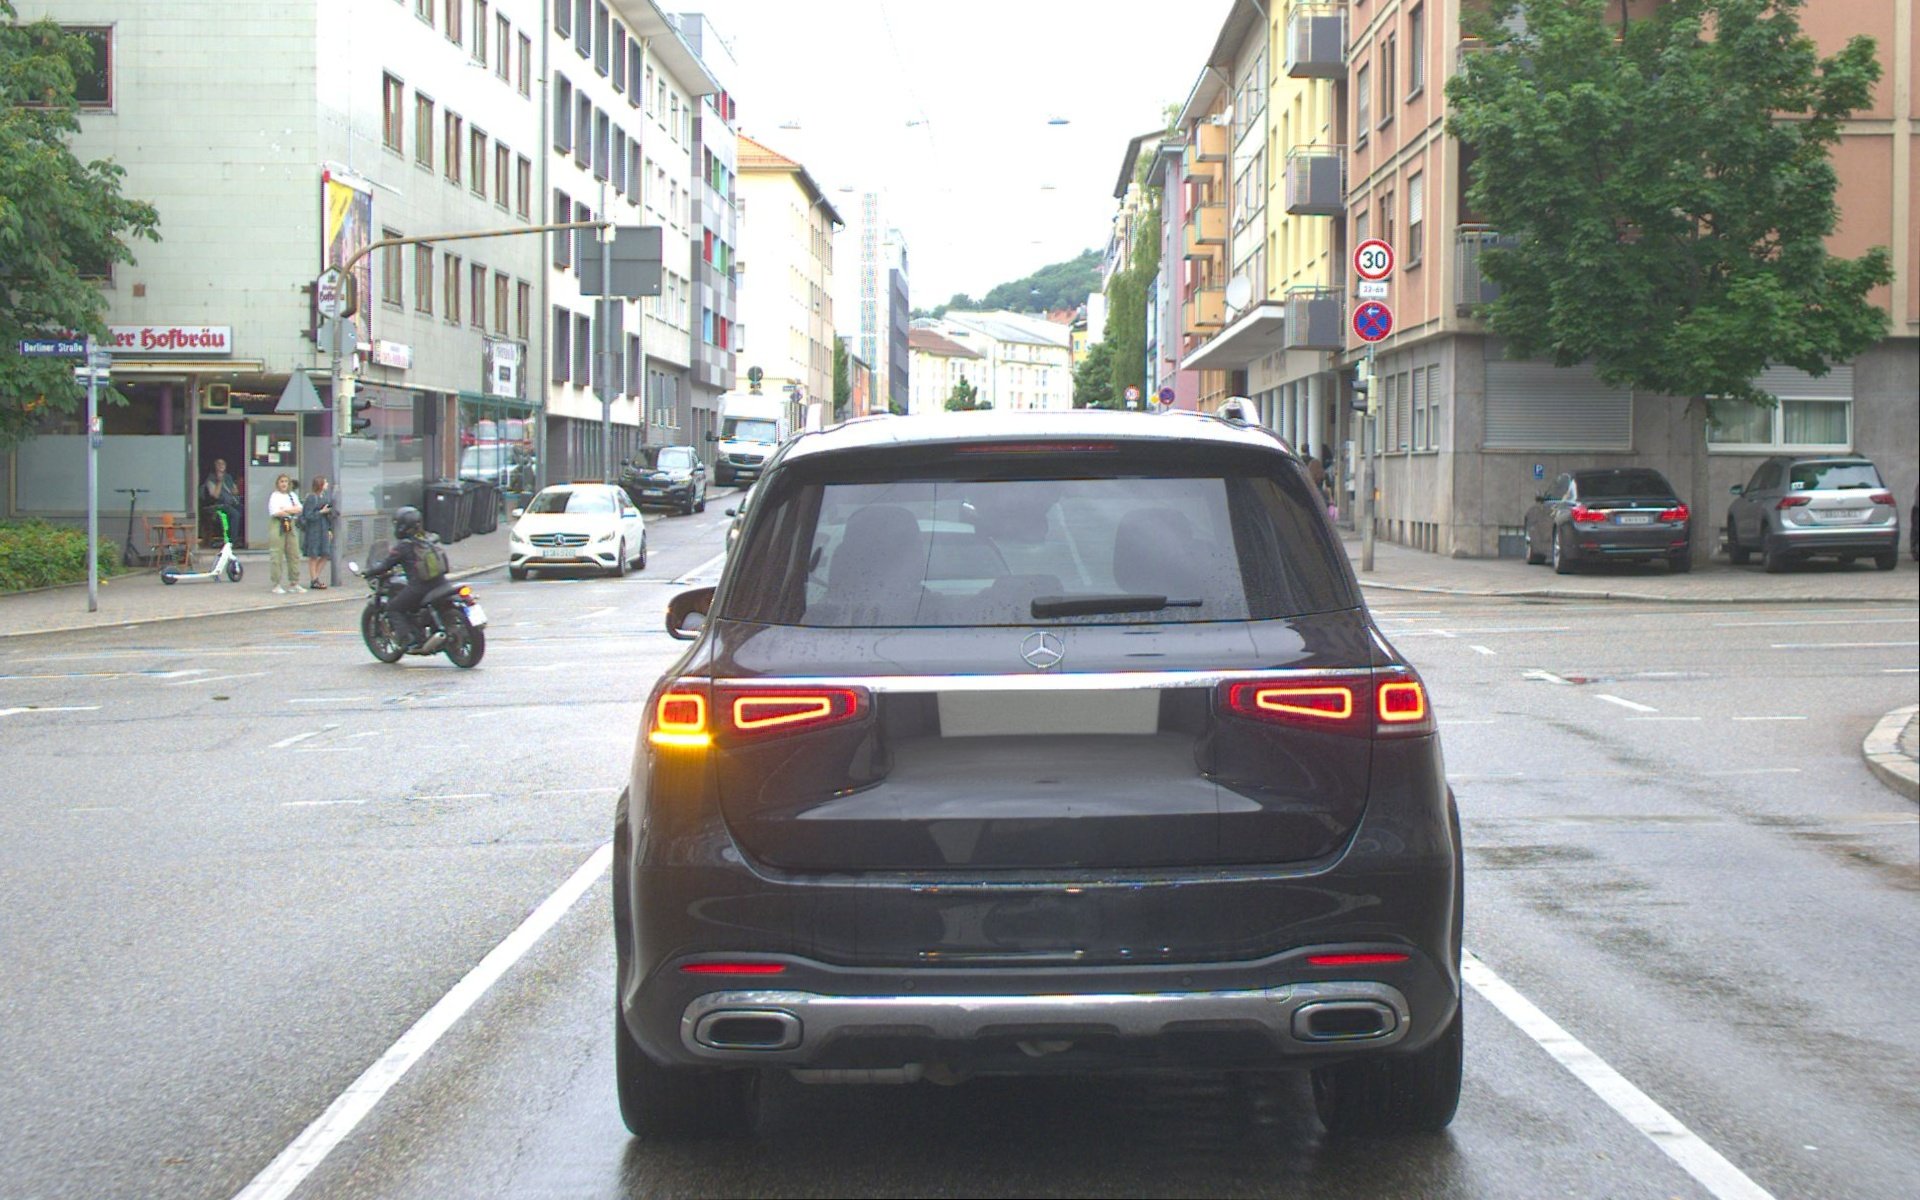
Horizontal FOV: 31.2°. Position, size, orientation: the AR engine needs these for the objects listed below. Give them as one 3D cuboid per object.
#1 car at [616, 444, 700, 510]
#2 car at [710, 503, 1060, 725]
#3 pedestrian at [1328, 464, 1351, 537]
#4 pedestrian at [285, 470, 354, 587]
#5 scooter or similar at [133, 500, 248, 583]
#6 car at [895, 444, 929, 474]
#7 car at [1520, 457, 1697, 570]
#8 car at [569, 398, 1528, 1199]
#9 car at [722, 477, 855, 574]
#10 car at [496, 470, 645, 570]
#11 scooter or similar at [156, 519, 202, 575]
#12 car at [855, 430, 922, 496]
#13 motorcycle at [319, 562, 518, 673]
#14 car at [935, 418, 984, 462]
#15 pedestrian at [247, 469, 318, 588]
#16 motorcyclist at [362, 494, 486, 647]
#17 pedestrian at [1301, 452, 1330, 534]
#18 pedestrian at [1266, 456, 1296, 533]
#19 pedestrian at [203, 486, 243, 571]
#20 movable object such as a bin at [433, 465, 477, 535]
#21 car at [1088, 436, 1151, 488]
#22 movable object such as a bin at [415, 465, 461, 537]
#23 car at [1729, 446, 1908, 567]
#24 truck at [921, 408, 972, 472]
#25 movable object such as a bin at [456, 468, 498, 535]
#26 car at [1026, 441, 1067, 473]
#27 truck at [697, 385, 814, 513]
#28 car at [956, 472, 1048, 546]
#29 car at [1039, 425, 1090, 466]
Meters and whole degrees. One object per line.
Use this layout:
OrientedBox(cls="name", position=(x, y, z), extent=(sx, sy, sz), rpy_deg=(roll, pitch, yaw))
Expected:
OrientedBox(cls="car", position=(-7.562, -3.068, 86.287), extent=(1.723, 1.597, 4.000), rpy_deg=(-1, 2, 0))
OrientedBox(cls="car", position=(-0.672, 0.032, 26.432), extent=(1.830, 1.456, 4.380), rpy_deg=(-3, 3, -12))
OrientedBox(cls="pedestrian", position=(7.416, -1.950, 67.202), extent=(0.363, 1.394, 0.370), rpy_deg=(1, 5, 1))
OrientedBox(cls="pedestrian", position=(-9.307, -1.045, 49.954), extent=(0.708, 1.641, 0.759), rpy_deg=(-1, 5, -35))
OrientedBox(cls="scooter or similar", position=(-11.324, -0.859, 50.603), extent=(1.556, 1.186, 0.501), rpy_deg=(1, 1, -28))
OrientedBox(cls="car", position=(-2.848, -8.400, 204.860), extent=(1.844, 1.668, 4.000), rpy_deg=(-1, 2, 2))
OrientedBox(cls="car", position=(9.338, -1.273, 49.864), extent=(1.844, 1.549, 4.796), rpy_deg=(-1, 2, 2))
OrientedBox(cls="car", position=(0.122, 0.409, 9.627), extent=(2.020, 1.733, 4.748), rpy_deg=(0, 1, -2))
OrientedBox(cls="car", position=(-2.755, -1.233, 55.981), extent=(1.844, 1.484, 4.000), rpy_deg=(-1, 2, 1))
OrientedBox(cls="car", position=(-6.221, -1.312, 55.311), extent=(1.844, 1.507, 4.000), rpy_deg=(-1, 2, 1))
OrientedBox(cls="scooter or similar", position=(-11.931, -0.810, 52.481), extent=(0.458, 0.840, 1.323), rpy_deg=(1, 1, -22))
OrientedBox(cls="car", position=(-2.452, -4.729, 119.327), extent=(2.065, 2.233, 4.620), rpy_deg=(-1, 1, 2))
OrientedBox(cls="motorcycle", position=(-5.268, 0.151, 33.349), extent=(0.862, 1.003, 2.251), rpy_deg=(-2, 2, -40))
OrientedBox(cls="car", position=(-0.008, -6.373, 136.994), extent=(1.844, 1.668, 4.000), rpy_deg=(-1, 2, 2))
OrientedBox(cls="pedestrian", position=(-9.676, -1.023, 49.080), extent=(0.708, 1.641, 0.759), rpy_deg=(-1, 5, -35))
OrientedBox(cls="motorcyclist", position=(-5.181, -0.291, 33.217), extent=(0.905, 1.448, 0.746), rpy_deg=(-2, 2, -41))
OrientedBox(cls="pedestrian", position=(6.946, -2.085, 67.167), extent=(0.479, 1.560, 0.558), rpy_deg=(1, 5, 1))
OrientedBox(cls="pedestrian", position=(6.588, -2.168, 70.493), extent=(0.520, 1.533, 0.569), rpy_deg=(1, 5, 1))
OrientedBox(cls="pedestrian", position=(-12.193, -1.179, 56.893), extent=(0.518, 1.395, 0.578), rpy_deg=(1, 1, -3))
OrientedBox(cls="movable object such as a bin", position=(-9.667, -1.914, 65.799), extent=(0.697, 1.311, 0.782), rpy_deg=(1, 1, 0))
OrientedBox(cls="car", position=(5.372, -4.591, 115.129), extent=(2.016, 1.557, 5.154), rpy_deg=(2, 1, 3))
OrientedBox(cls="movable object such as a bin", position=(-9.690, -1.837, 63.838), extent=(0.697, 1.311, 0.782), rpy_deg=(1, 1, 0))
OrientedBox(cls="car", position=(12.277, -1.355, 49.383), extent=(1.987, 1.654, 3.999), rpy_deg=(0, 2, 7))
OrientedBox(cls="truck", position=(-0.852, -10.449, 225.023), extent=(2.808, 3.819, 8.144), rpy_deg=(1, 1, 3))
OrientedBox(cls="movable object such as a bin", position=(-9.625, -1.960, 68.536), extent=(0.697, 1.311, 0.782), rpy_deg=(1, 1, 0))
OrientedBox(cls="car", position=(4.580, -7.522, 181.080), extent=(2.016, 1.557, 4.000), rpy_deg=(2, 1, 3))
OrientedBox(cls="truck", position=(-6.530, -4.798, 110.927), extent=(2.808, 3.819, 8.144), rpy_deg=(1, 1, 3))
OrientedBox(cls="car", position=(0.886, -1.901, 71.656), extent=(1.844, 1.484, 4.000), rpy_deg=(-1, 2, 1))
OrientedBox(cls="car", position=(4.493, -6.583, 146.813), extent=(2.016, 1.557, 4.000), rpy_deg=(2, 1, 3))
